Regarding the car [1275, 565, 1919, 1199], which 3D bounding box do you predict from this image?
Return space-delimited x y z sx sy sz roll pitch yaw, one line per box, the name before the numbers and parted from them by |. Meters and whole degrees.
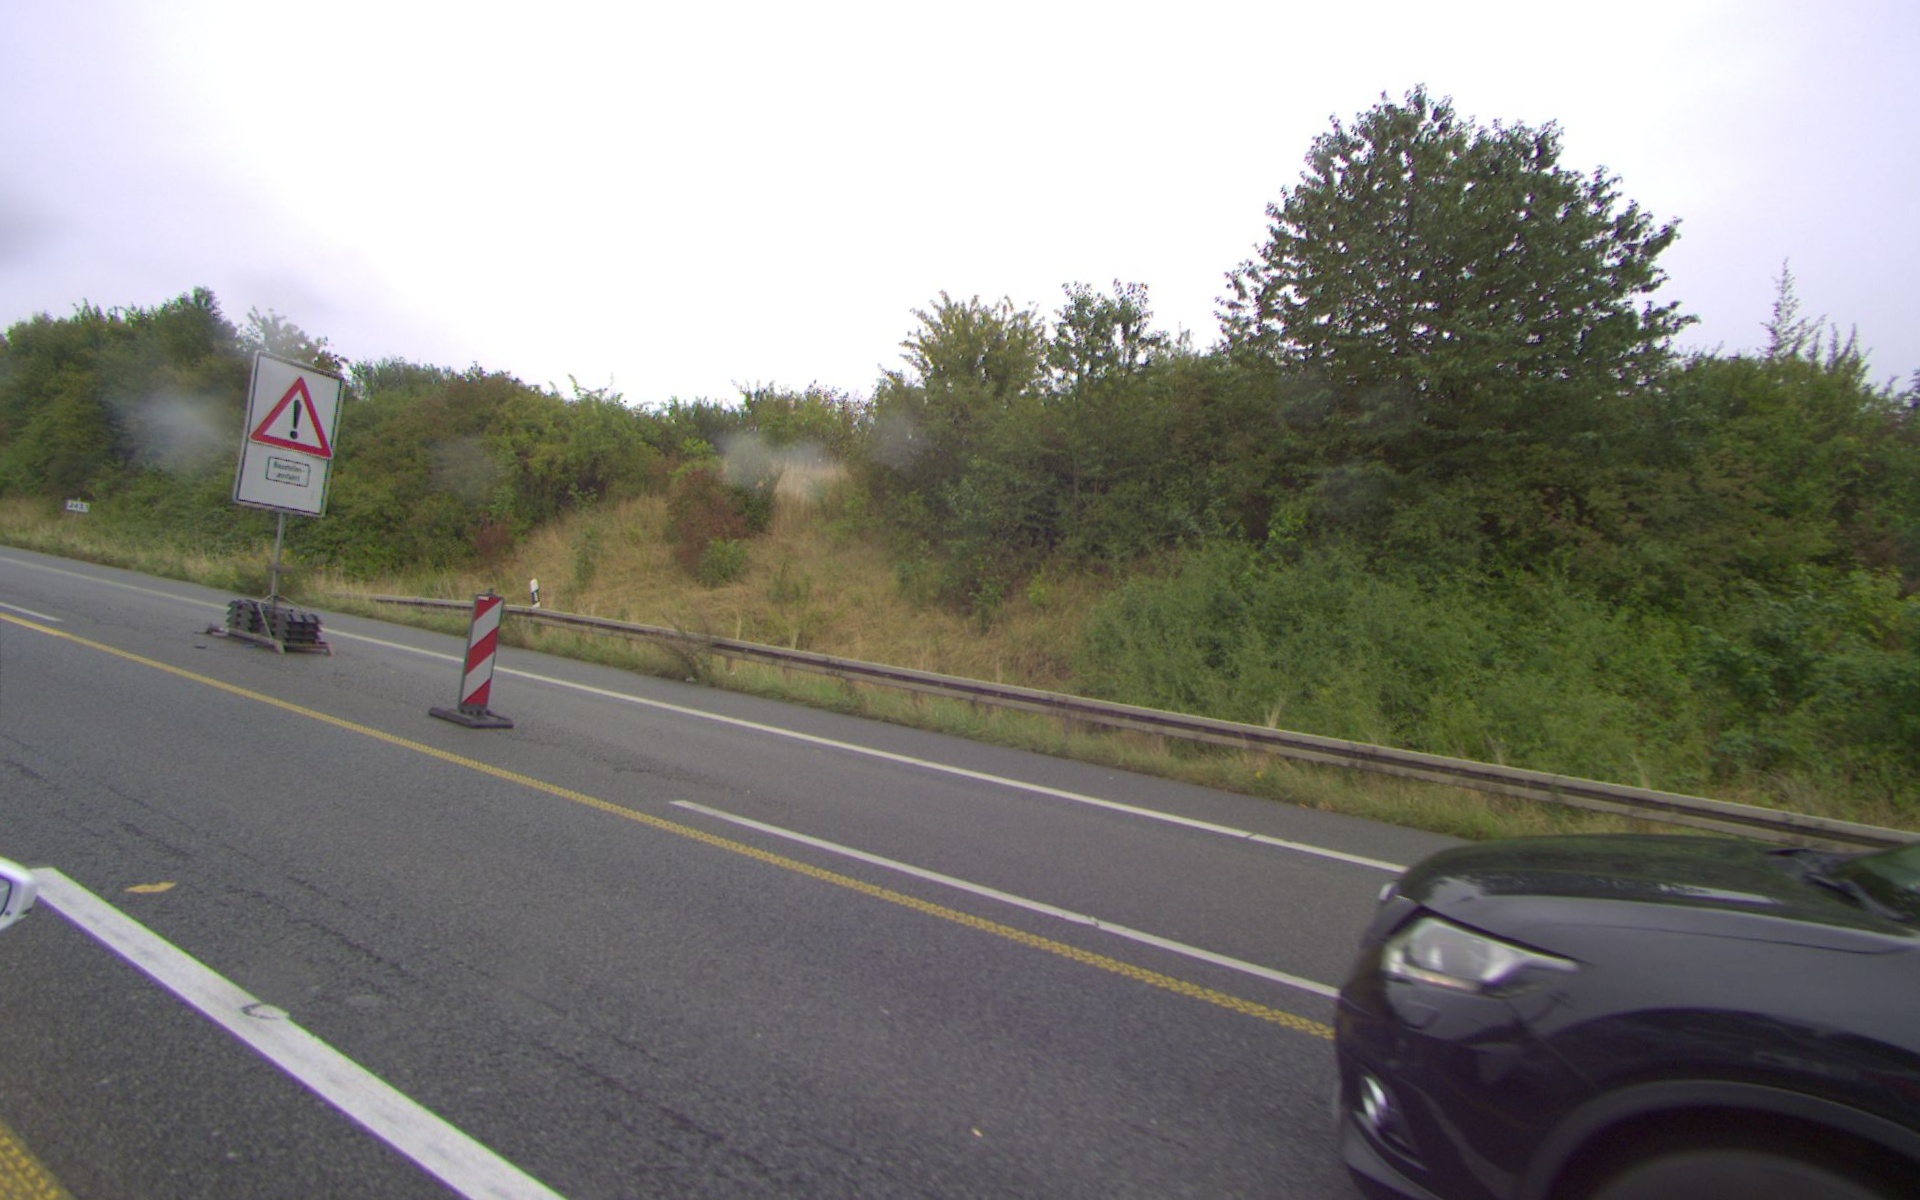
car | 2.963 1.040 1.847 4.208 1.678 1.688 7 -1 30
